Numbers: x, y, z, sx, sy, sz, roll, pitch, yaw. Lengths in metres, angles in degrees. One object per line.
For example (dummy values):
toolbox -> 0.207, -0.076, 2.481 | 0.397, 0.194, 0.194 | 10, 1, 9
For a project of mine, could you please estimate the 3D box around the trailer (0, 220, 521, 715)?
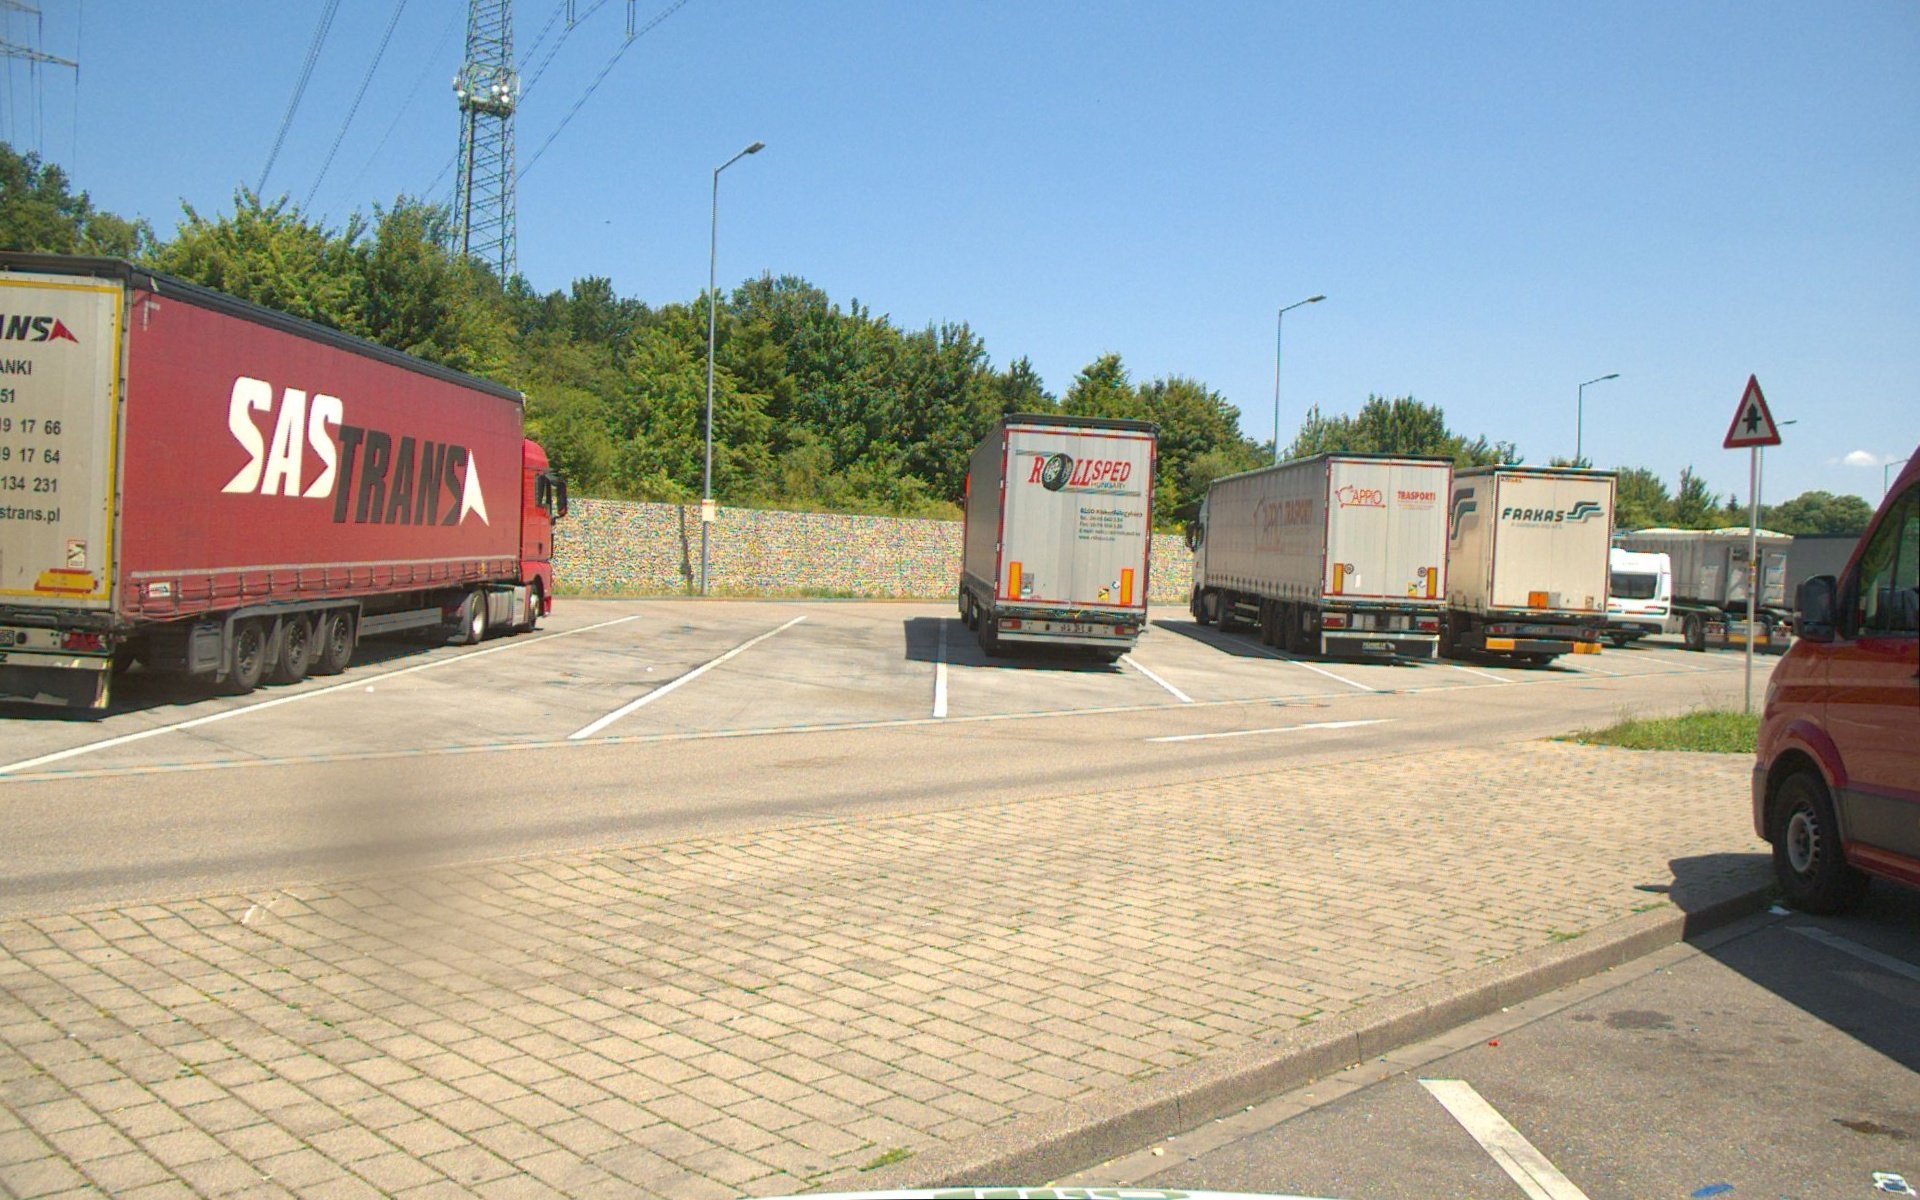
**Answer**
trailer -> -8.632, -1.286, 21.005 | 2.743, 4.293, 13.200 | 1, 1, -1

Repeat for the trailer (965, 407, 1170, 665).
trailer -> 1.747, -1.127, 32.118 | 2.839, 4.083, 11.313 | 1, 1, -2

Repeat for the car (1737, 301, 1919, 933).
car -> 4.982, 0.105, 5.582 | 1.952, 2.679, 6.385 | 1, 1, 3

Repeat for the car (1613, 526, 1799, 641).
car -> 21.705, -0.509, 48.517 | 2.448, 3.128, 6.350 | 1, 1, -1

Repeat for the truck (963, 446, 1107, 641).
truck -> 1.576, -1.241, 37.720 | 2.813, 4.050, 6.028 | 1, 1, -2

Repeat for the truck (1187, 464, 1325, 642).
truck -> 8.024, -1.257, 45.534 | 2.607, 4.530, 5.863 | 1, 1, -1

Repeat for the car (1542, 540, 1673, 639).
car -> 18.240, -0.279, 46.759 | 2.072, 2.645, 3.999 | 1, 0, -1

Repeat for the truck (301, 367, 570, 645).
truck -> -8.720, -1.490, 28.260 | 2.749, 4.205, 5.893 | 1, 1, -1

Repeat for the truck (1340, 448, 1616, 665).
truck -> 11.720, -0.841, 38.982 | 2.534, 4.299, 11.967 | 1, 0, -1

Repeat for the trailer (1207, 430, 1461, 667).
trailer -> 8.180, -1.103, 38.336 | 2.627, 4.530, 12.826 | 1, 1, -1
